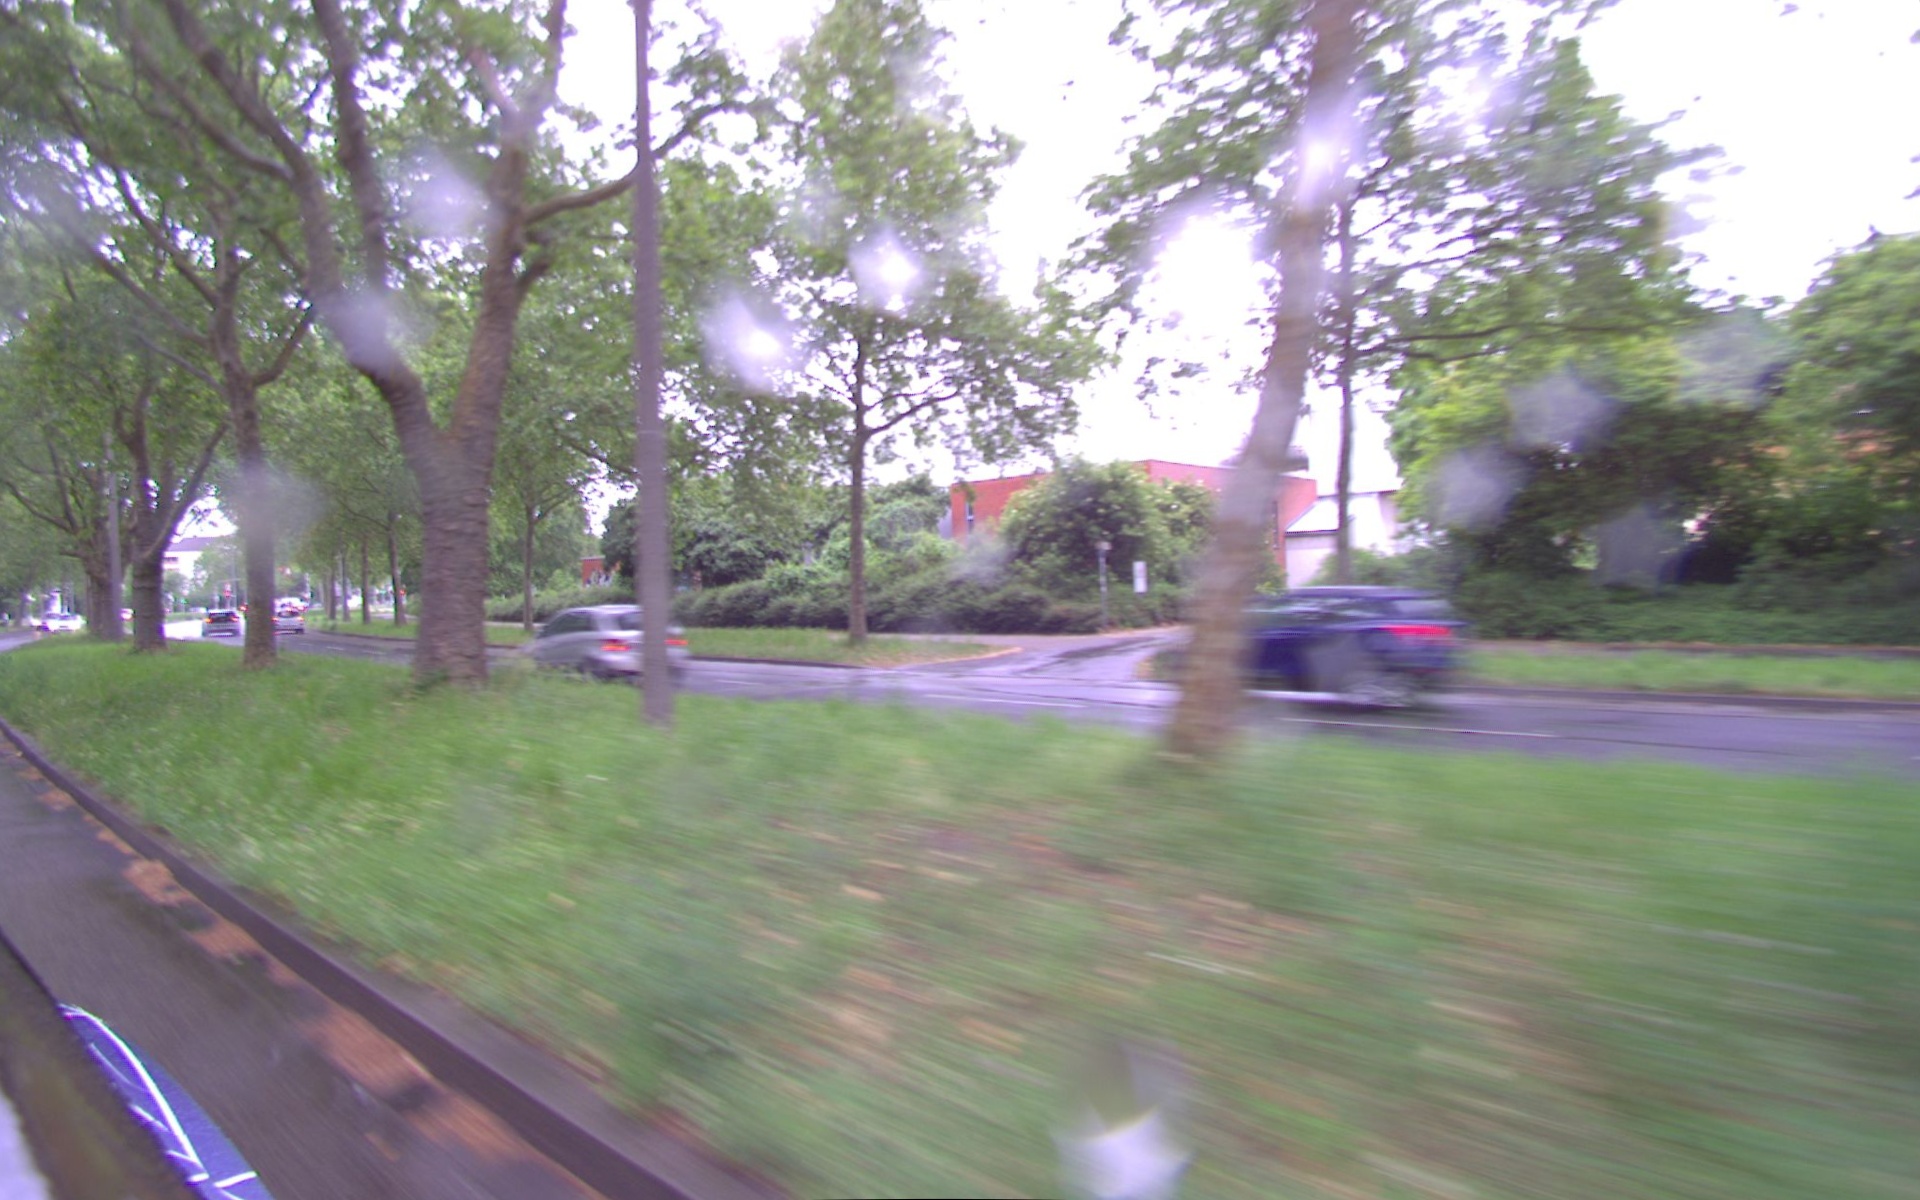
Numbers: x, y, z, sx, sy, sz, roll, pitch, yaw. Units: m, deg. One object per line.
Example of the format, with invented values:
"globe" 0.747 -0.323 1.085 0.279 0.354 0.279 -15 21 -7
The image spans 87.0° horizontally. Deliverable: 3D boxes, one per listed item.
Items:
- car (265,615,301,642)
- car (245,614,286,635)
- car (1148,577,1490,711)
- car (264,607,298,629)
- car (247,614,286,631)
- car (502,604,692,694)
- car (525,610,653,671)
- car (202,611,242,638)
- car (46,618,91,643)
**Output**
"car" -41.666 1.731 62.340 1.720 1.470 3.852 -2 1 -33
"car" -57.883 2.052 84.424 1.719 1.573 4.382 -2 1 -20
"car" 4.965 0.556 14.281 4.204 1.603 1.727 -1 1 38
"car" -74.682 1.915 111.387 2.001 2.243 5.452 -2 1 -23
"car" -81.186 2.595 118.560 2.003 1.749 4.967 -2 1 -12
"car" -7.531 0.940 20.796 4.327 1.603 1.726 -1 1 41
"car" -10.393 1.083 28.227 4.084 1.487 1.724 -1 1 45
"car" -43.950 1.447 60.245 1.721 1.487 4.419 -3 1 -38
"car" -67.411 2.262 76.566 1.967 1.641 4.534 -3 2 -34
